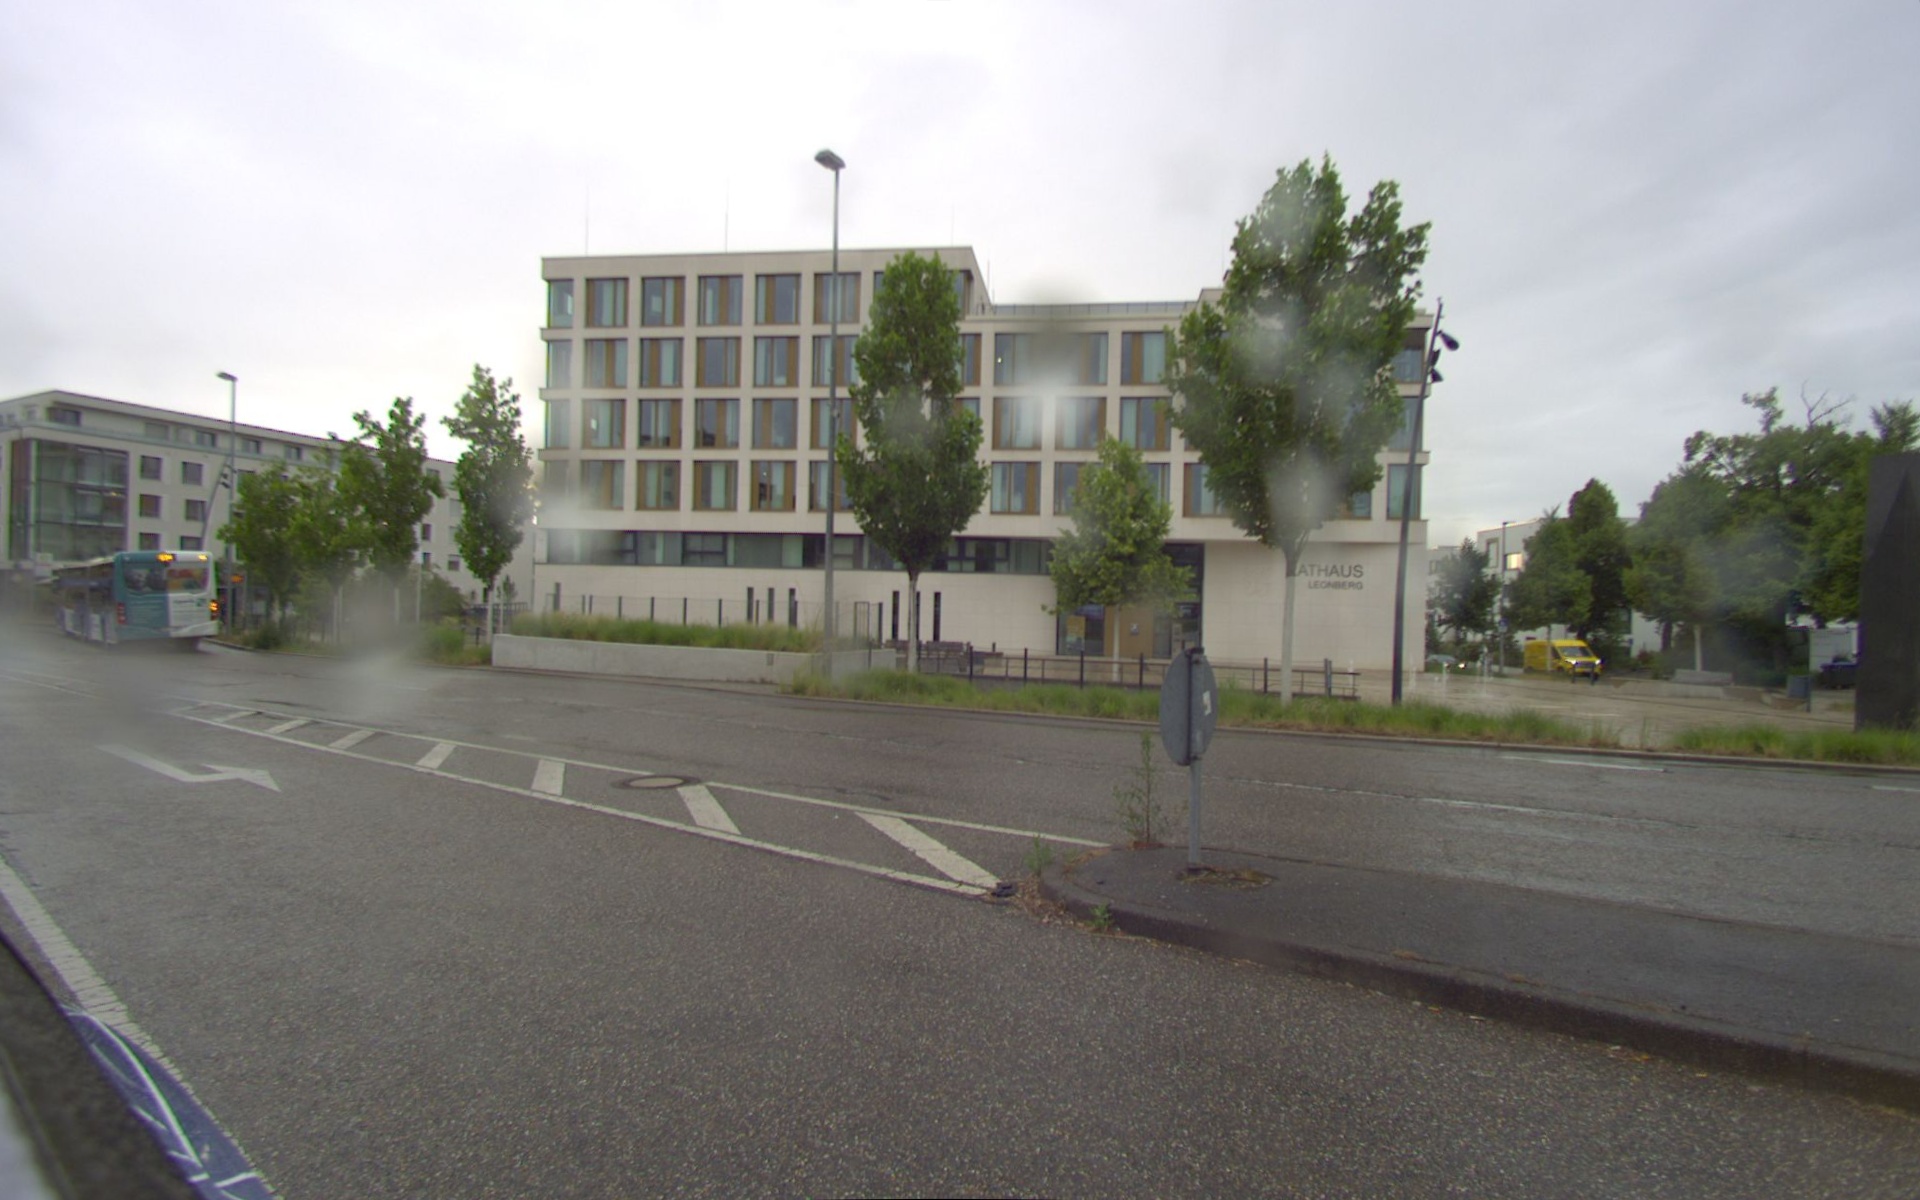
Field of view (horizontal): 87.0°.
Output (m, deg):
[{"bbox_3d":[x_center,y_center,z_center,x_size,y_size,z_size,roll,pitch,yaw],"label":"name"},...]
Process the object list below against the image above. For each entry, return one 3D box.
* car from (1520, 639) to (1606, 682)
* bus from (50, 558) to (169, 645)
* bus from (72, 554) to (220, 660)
[{"bbox_3d":[36.351,3.649,61.210,1.974,2.428,5.909,1,-3,4],"label":"car"},{"bbox_3d":[-34.240,0.127,40.580,8.887,3.138,2.760,-1,-2,44],"label":"bus"},{"bbox_3d":[-27.737,0.274,34.293,9.371,3.138,2.745,-1,-2,44],"label":"bus"}]
